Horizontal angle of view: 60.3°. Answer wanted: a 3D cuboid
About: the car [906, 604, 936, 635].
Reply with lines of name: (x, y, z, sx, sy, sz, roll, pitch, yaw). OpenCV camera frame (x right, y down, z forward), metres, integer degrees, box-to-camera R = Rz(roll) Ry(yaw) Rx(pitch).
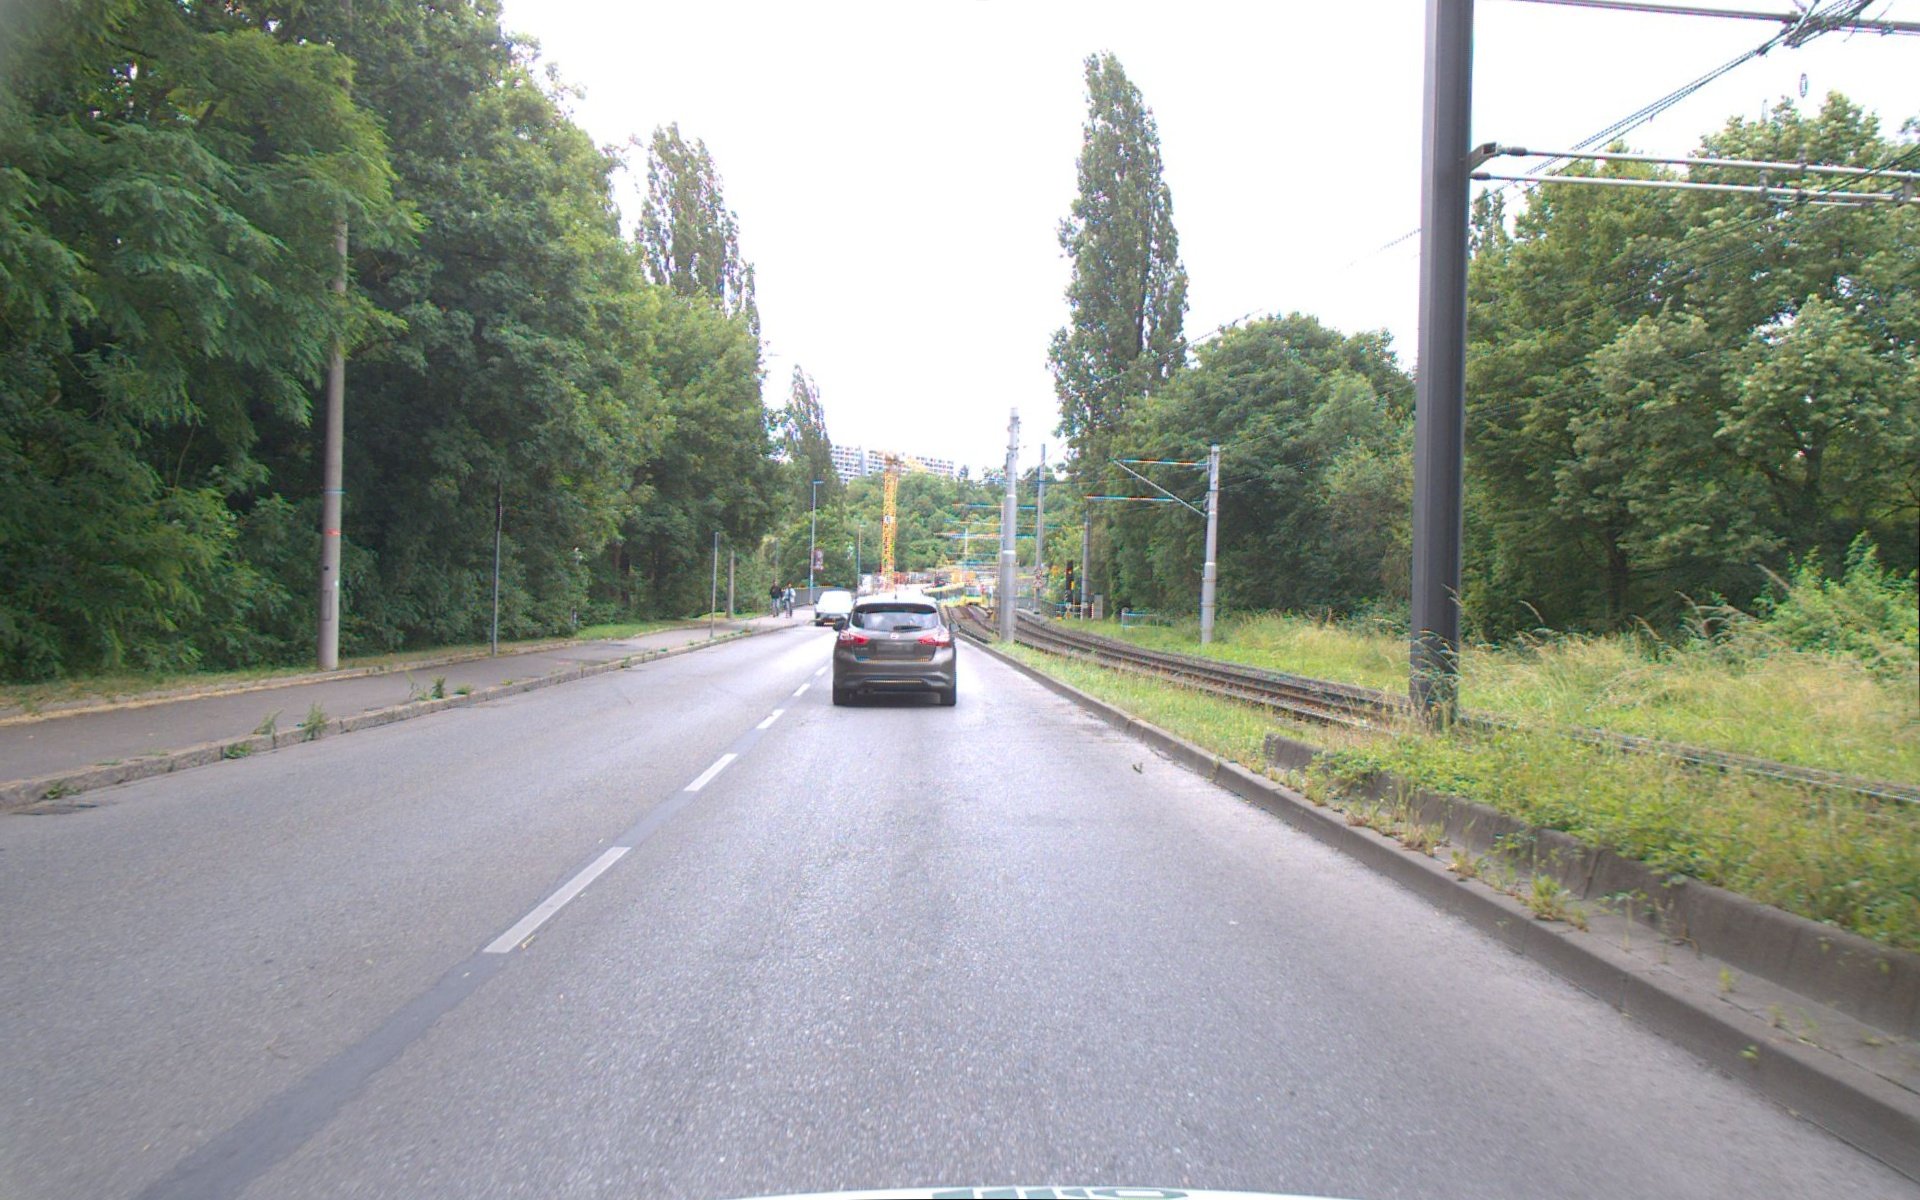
car: (-2.203, 1.097, 93.380, 1.646, 1.634, 4.308, 2, 0, -1)

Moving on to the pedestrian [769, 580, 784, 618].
pedestrian: (-9.158, -0.044, 82.587, 0.575, 1.834, 0.822, 3, 0, -2)

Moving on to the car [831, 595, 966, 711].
car: (-0.971, 0.714, 24.322, 1.794, 1.536, 3.997, 1, 0, -4)

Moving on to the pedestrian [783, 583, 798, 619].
pedestrian: (-8.518, 0.045, 82.997, 0.540, 1.795, 0.858, 5, 0, -2)

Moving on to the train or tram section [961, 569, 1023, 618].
train or tram section: (3.762, -0.637, 204.524, 2.973, 5.273, 22.995, 3, -2, -10)
